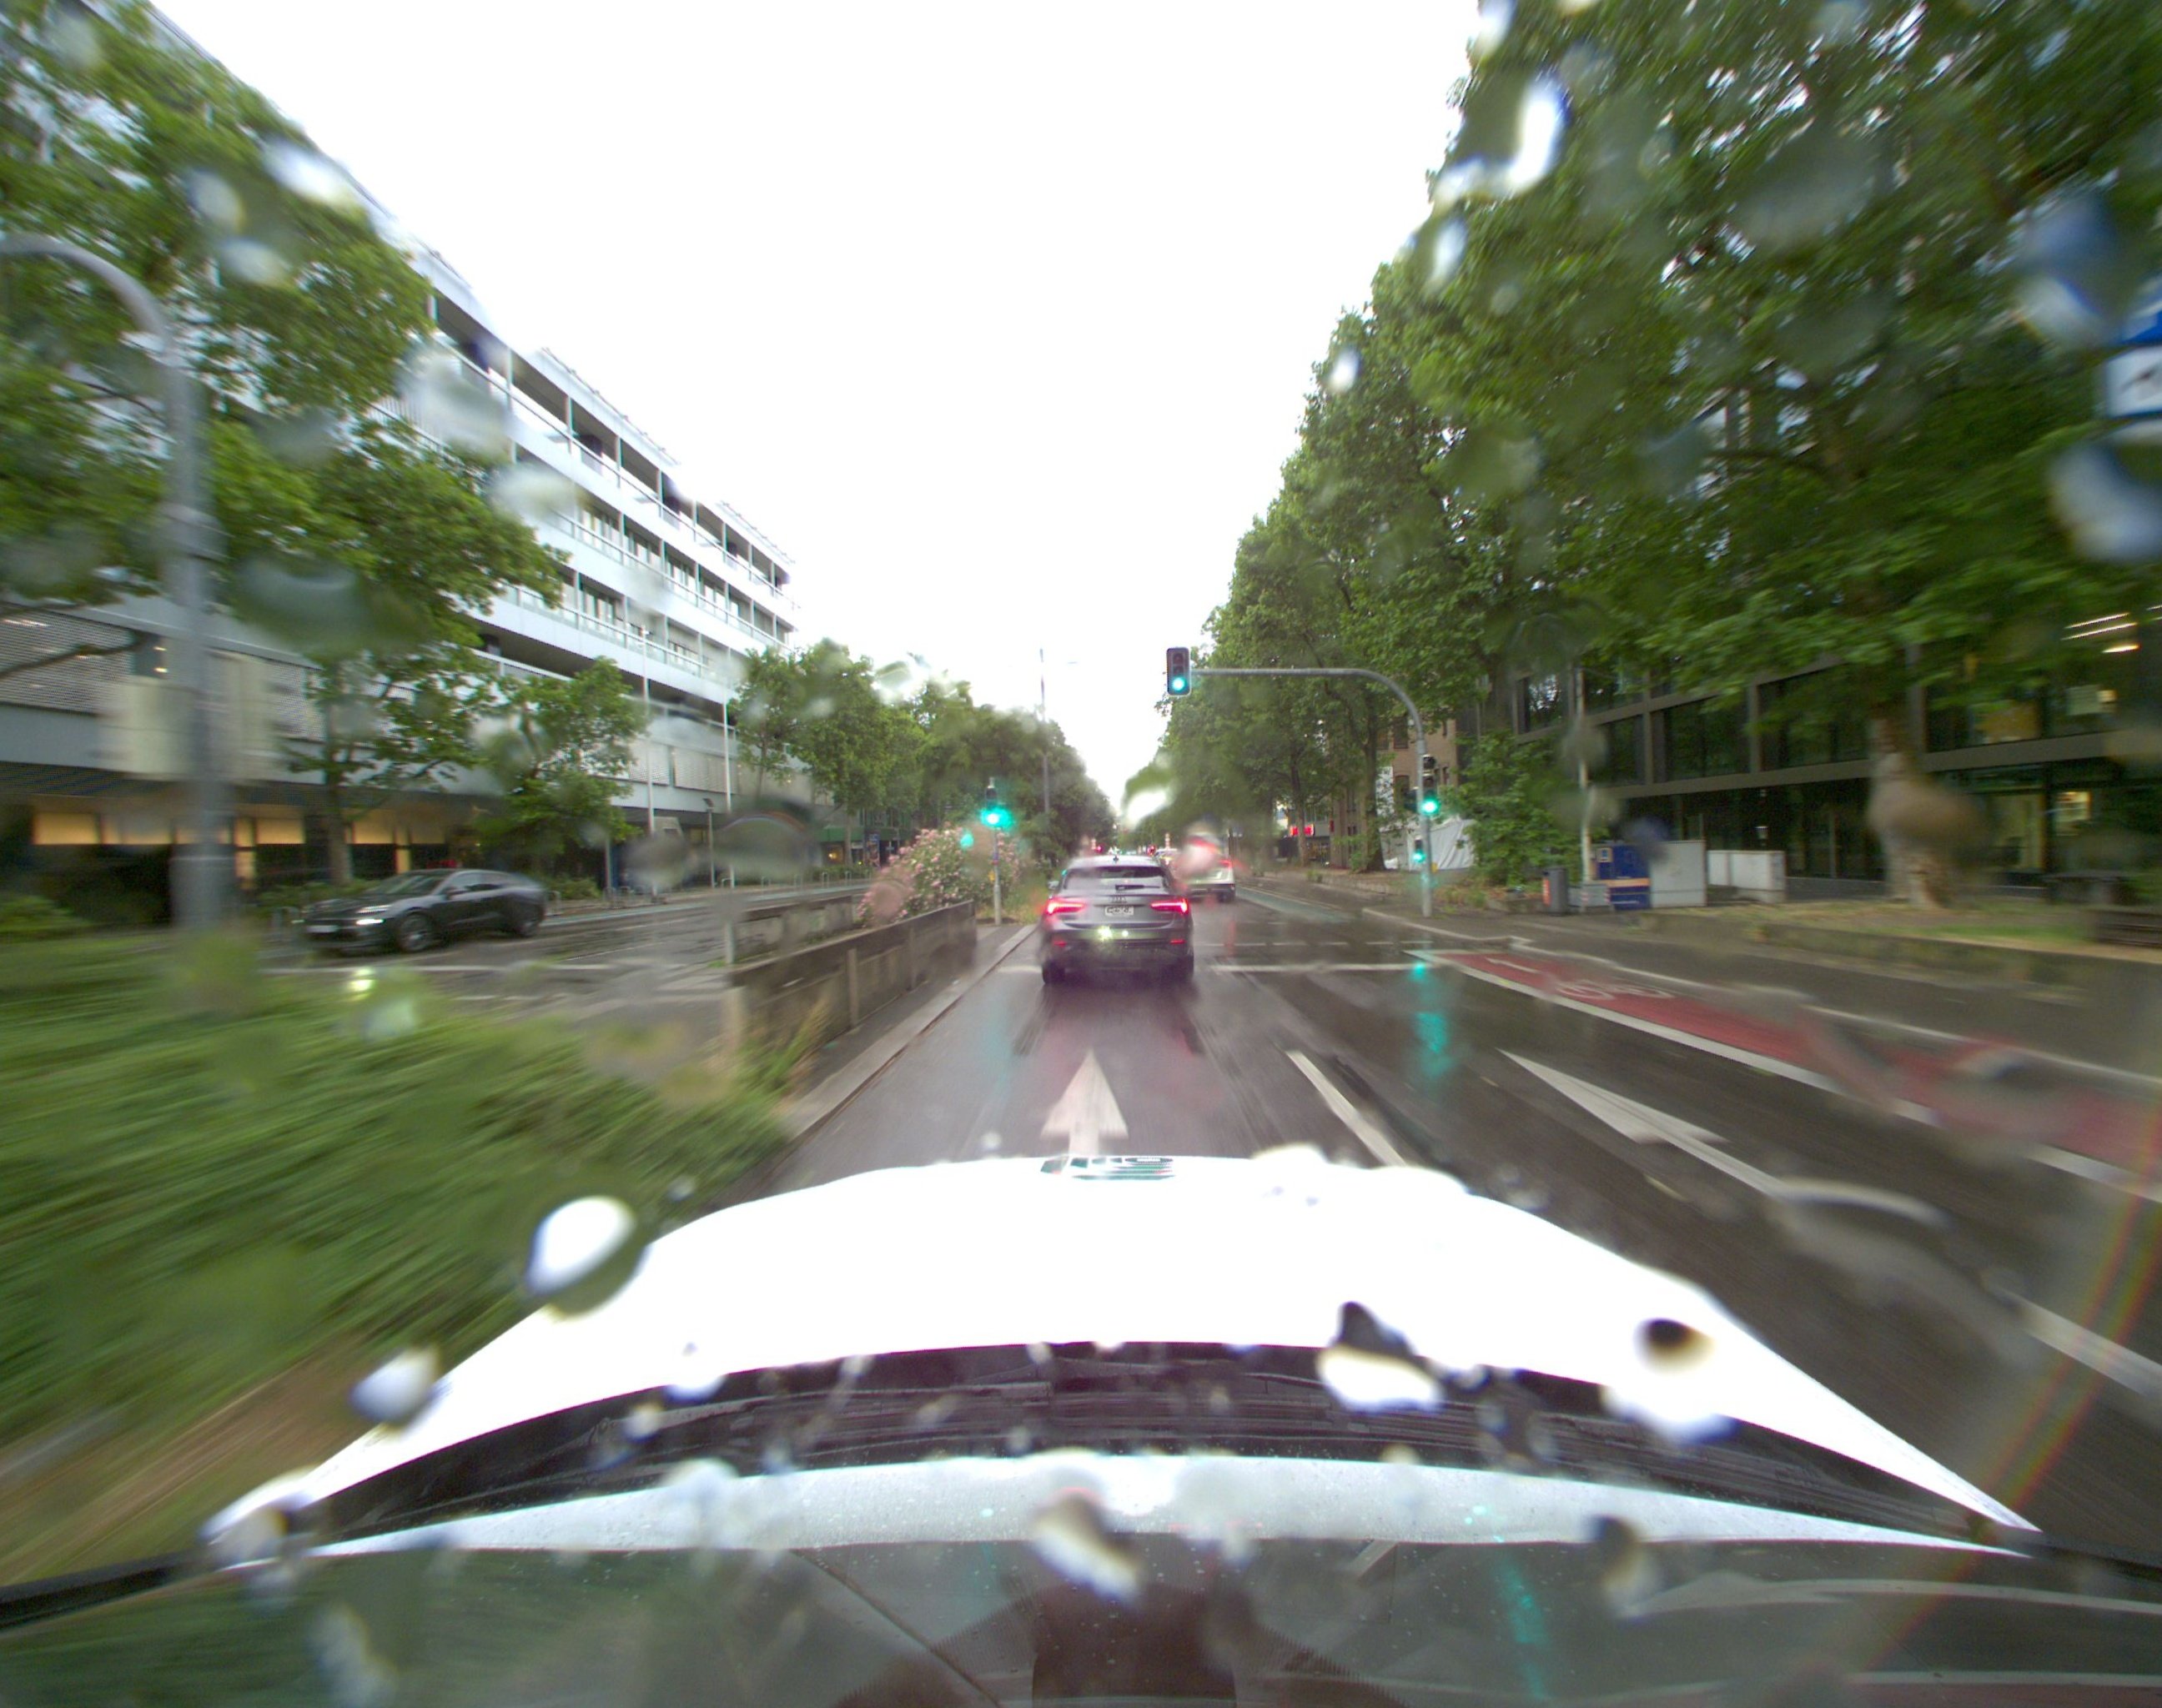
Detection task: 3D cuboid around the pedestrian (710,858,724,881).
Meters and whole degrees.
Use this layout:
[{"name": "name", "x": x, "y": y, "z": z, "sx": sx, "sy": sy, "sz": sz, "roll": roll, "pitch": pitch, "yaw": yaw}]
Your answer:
[{"name": "pedestrian", "x": -23.580, "y": 0.999, "z": 52.745, "sx": 0.608, "sy": 1.482, "sz": 0.574, "roll": 0, "pitch": -1, "yaw": -1}]

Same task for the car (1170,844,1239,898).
[{"name": "car", "x": 4.128, "y": 0.575, "z": 27.808, "sx": 1.871, "sy": 1.697, "sz": 4.002, "roll": 0, "pitch": -1, "yaw": 2}]

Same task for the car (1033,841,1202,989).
[{"name": "car", "x": 0.439, "y": 0.687, "z": 11.035, "sx": 1.843, "sy": 1.602, "sz": 4.001, "roll": -1, "pitch": 0, "yaw": 1}]

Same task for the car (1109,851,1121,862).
[{"name": "car", "x": 5.467, "y": 0.414, "z": 131.857, "sx": 1.986, "sy": 1.726, "sz": 4.001, "roll": 0, "pitch": -1, "yaw": 1}]

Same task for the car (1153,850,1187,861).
[{"name": "car", "x": 13.142, "y": 0.237, "z": 120.365, "sx": 4.594, "sy": 1.706, "sz": 2.012, "roll": -1, "pitch": -1, "yaw": 29}]

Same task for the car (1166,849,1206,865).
[{"name": "car", "x": 13.208, "y": 0.383, "z": 102.556, "sx": 4.548, "sy": 2.014, "sz": 1.980, "roll": -1, "pitch": -1, "yaw": 40}]

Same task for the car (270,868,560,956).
[{"name": "car", "x": -13.709, "y": 1.100, "z": 17.262, "sx": 1.900, "sy": 1.584, "sz": 4.754, "roll": 0, "pitch": -1, "yaw": 6}]

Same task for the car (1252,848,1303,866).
[{"name": "car", "x": 12.522, "y": 0.208, "z": 51.924, "sx": 2.856, "sy": 1.074, "sz": 1.465, "roll": -1, "pitch": -1, "yaw": 33}]

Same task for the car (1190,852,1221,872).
[{"name": "car", "x": 9.433, "y": 0.593, "z": 61.968, "sx": 1.866, "sy": 1.421, "sz": 4.613, "roll": 0, "pitch": 0, "yaw": 2}]

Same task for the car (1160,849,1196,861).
[{"name": "car", "x": 13.903, "y": 0.181, "z": 116.696, "sx": 4.594, "sy": 1.706, "sz": 2.012, "roll": -1, "pitch": -1, "yaw": 29}]

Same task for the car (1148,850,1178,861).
[{"name": "car", "x": 13.492, "y": 0.285, "z": 134.025, "sx": 4.594, "sy": 1.706, "sz": 2.012, "roll": -1, "pitch": -1, "yaw": 29}]

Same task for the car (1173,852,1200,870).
[{"name": "car", "x": 9.460, "y": 0.600, "z": 73.097, "sx": 1.723, "sy": 1.571, "sz": 4.069, "roll": 0, "pitch": -1, "yaw": -2}]

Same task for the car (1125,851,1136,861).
[{"name": "car", "x": 8.806, "y": 0.386, "z": 144.655, "sx": 1.986, "sy": 1.651, "sz": 4.002, "roll": 0, "pitch": -1, "yaw": 2}]

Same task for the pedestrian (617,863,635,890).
[{"name": "pedestrian", "x": -23.297, "y": 1.158, "z": 41.737, "sx": 0.636, "sy": 1.380, "sz": 0.474, "roll": 0, "pitch": -1, "yaw": -1}]
